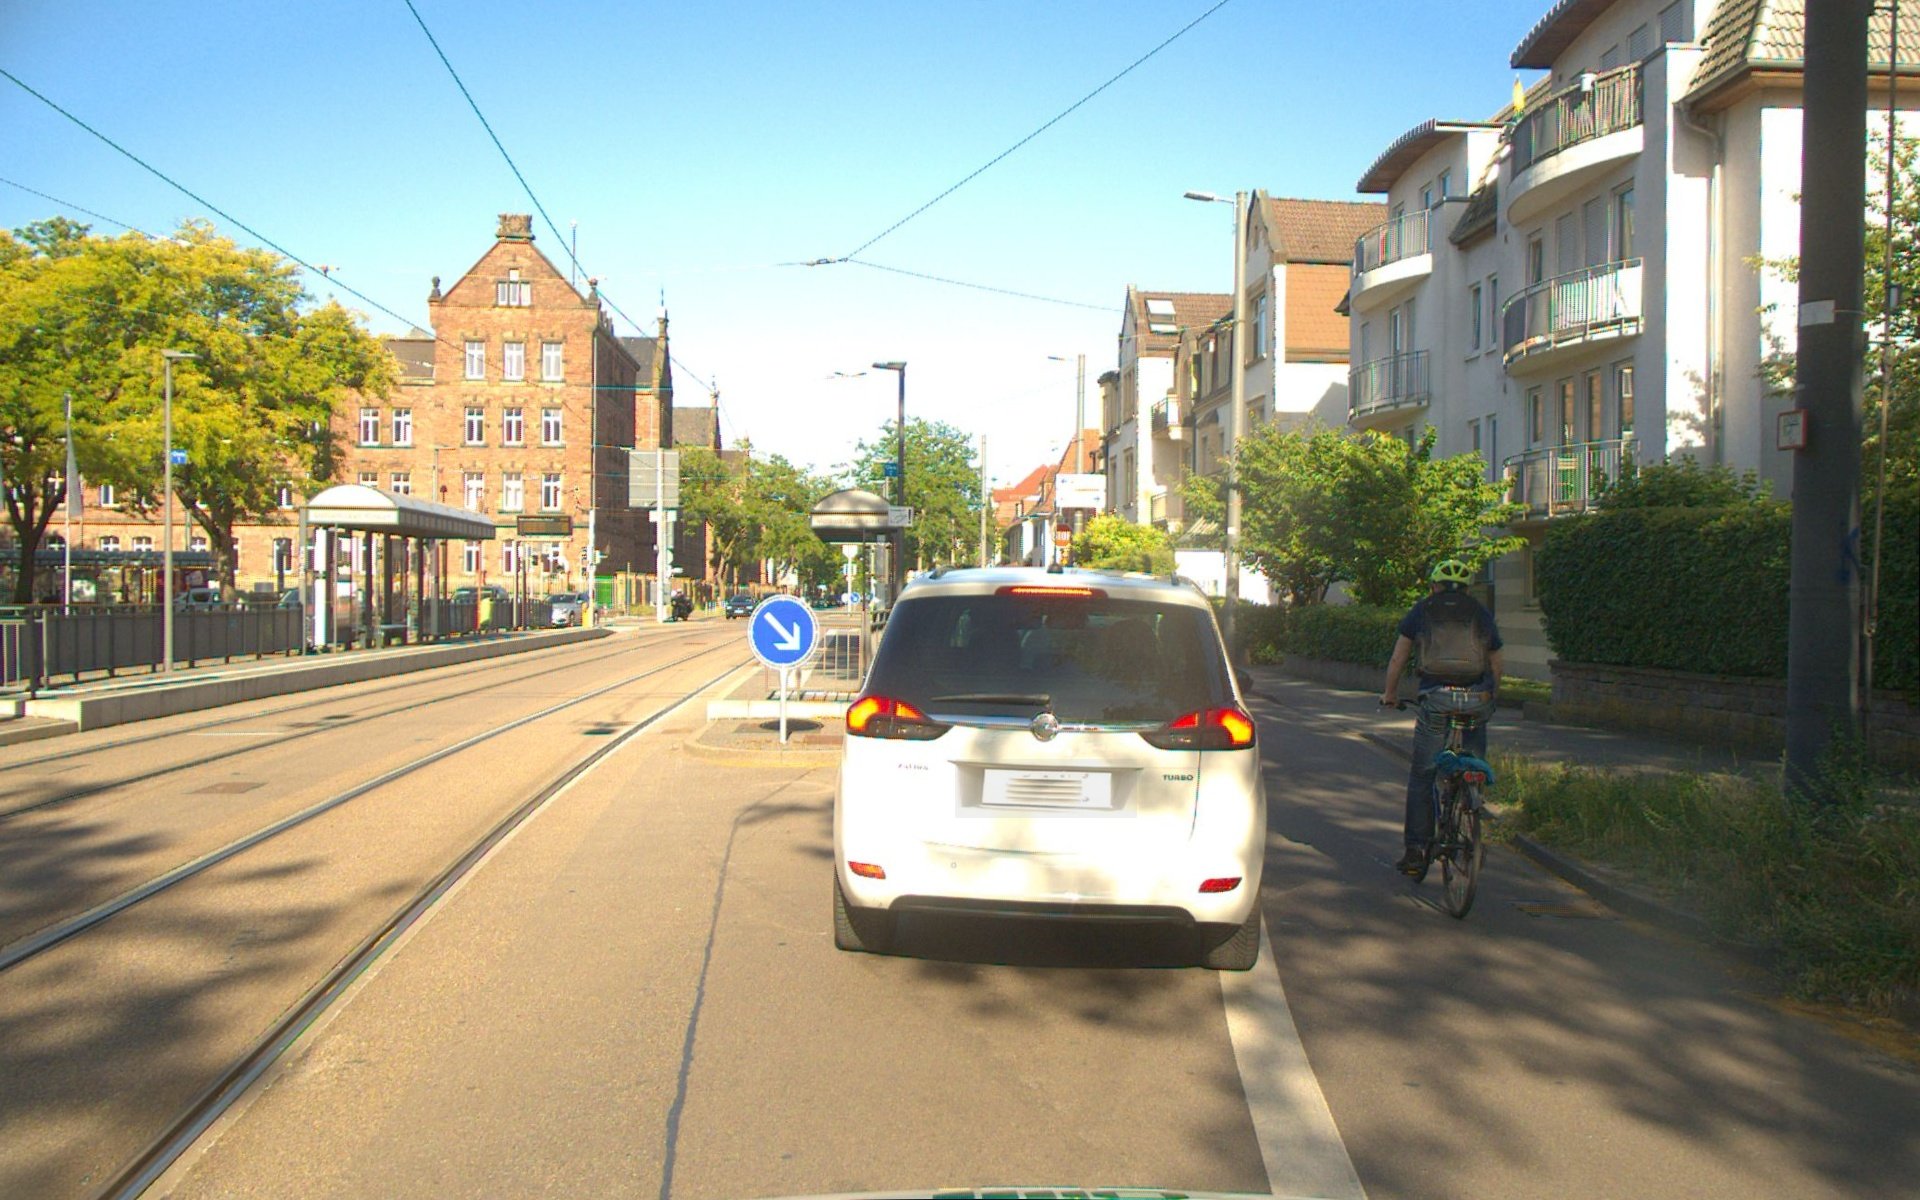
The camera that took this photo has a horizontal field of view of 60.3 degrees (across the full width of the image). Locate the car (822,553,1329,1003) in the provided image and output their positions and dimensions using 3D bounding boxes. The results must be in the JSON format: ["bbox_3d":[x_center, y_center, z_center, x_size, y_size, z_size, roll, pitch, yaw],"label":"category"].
[{"bbox_3d":[0.579,0.634,8.075,1.838,1.613,4.002,1,0,5],"label":"car"}]

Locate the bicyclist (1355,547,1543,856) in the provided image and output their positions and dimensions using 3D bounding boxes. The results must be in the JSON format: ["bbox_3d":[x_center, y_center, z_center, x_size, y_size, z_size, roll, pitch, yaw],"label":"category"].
[{"bbox_3d":[2.544,0.503,8.705,0.631,1.514,1.114,1,0,-1],"label":"bicyclist"}]

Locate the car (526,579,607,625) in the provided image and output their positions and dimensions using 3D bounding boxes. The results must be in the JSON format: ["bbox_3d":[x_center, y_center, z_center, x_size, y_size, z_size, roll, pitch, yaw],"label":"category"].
[{"bbox_3d":[-16.089,0.104,67.856,1.788,1.819,4.330,1,-1,7],"label":"car"}]

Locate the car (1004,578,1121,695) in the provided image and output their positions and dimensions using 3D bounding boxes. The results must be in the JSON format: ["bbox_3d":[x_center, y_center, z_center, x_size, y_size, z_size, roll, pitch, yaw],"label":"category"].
[{"bbox_3d":[1.544,0.517,25.972,1.537,1.643,3.784,2,0,0],"label":"car"}]

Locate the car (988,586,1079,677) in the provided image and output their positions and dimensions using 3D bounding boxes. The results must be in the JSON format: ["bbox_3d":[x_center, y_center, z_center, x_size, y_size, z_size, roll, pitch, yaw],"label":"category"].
[{"bbox_3d":[1.435,0.596,33.656,1.563,1.663,3.900,2,0,-1],"label":"car"}]

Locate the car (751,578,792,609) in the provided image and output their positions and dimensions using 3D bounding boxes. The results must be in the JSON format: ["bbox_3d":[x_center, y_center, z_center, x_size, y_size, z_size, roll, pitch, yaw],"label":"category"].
[{"bbox_3d":[-12.980,-0.454,113.882,1.951,2.049,4.002,1,0,6],"label":"car"}]

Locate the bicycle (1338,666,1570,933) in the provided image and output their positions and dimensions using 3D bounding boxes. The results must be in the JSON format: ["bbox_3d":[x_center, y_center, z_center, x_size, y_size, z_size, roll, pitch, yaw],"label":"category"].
[{"bbox_3d":[2.539,0.974,8.723,0.629,1.163,1.901,0,0,-1],"label":"bicycle"}]

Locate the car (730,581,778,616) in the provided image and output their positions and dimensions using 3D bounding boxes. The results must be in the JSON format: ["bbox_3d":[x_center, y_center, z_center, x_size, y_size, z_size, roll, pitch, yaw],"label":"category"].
[{"bbox_3d":[-12.271,-0.070,98.675,1.951,2.049,4.002,1,0,6],"label":"car"}]

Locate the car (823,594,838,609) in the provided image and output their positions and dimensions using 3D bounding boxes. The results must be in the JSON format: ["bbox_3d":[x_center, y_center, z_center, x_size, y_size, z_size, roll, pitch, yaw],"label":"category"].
[{"bbox_3d":[-17.578,0.204,224.579,1.955,2.049,3.994,1,0,-6],"label":"car"}]

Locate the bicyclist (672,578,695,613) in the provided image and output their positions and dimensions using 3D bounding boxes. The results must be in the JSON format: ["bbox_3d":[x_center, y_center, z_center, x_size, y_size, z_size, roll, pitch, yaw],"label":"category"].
[{"bbox_3d":[-13.728,-0.210,82.120,0.710,1.717,1.170,0,0,11],"label":"bicyclist"}]

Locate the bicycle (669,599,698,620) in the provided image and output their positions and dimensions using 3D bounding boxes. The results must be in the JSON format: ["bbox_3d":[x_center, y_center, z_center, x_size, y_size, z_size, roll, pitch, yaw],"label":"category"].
[{"bbox_3d":[-13.724,0.463,82.123,0.710,0.982,2.062,0,1,11],"label":"bicycle"}]

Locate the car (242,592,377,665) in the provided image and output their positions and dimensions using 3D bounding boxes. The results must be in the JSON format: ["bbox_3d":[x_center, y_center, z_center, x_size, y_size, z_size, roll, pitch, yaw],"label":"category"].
[{"bbox_3d":[-15.550,0.673,39.777,1.791,1.645,4.323,1,-1,-5],"label":"car"}]

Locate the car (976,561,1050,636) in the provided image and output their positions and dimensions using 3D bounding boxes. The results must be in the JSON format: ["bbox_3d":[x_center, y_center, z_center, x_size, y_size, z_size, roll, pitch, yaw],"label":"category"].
[{"bbox_3d":[1.241,-0.053,40.214,1.563,1.663,3.900,2,0,-1],"label":"car"}]

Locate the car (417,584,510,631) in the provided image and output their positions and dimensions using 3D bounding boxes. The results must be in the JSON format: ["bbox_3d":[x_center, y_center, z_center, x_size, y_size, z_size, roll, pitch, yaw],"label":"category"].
[{"bbox_3d":[-16.441,0.258,54.995,1.789,1.471,4.326,1,-1,-1],"label":"car"}]

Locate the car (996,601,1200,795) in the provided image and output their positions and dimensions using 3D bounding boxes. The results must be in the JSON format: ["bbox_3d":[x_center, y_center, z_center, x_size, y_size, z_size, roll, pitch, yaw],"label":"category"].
[{"bbox_3d":[1.227,0.764,14.783,1.536,1.426,3.786,2,0,5],"label":"car"}]
